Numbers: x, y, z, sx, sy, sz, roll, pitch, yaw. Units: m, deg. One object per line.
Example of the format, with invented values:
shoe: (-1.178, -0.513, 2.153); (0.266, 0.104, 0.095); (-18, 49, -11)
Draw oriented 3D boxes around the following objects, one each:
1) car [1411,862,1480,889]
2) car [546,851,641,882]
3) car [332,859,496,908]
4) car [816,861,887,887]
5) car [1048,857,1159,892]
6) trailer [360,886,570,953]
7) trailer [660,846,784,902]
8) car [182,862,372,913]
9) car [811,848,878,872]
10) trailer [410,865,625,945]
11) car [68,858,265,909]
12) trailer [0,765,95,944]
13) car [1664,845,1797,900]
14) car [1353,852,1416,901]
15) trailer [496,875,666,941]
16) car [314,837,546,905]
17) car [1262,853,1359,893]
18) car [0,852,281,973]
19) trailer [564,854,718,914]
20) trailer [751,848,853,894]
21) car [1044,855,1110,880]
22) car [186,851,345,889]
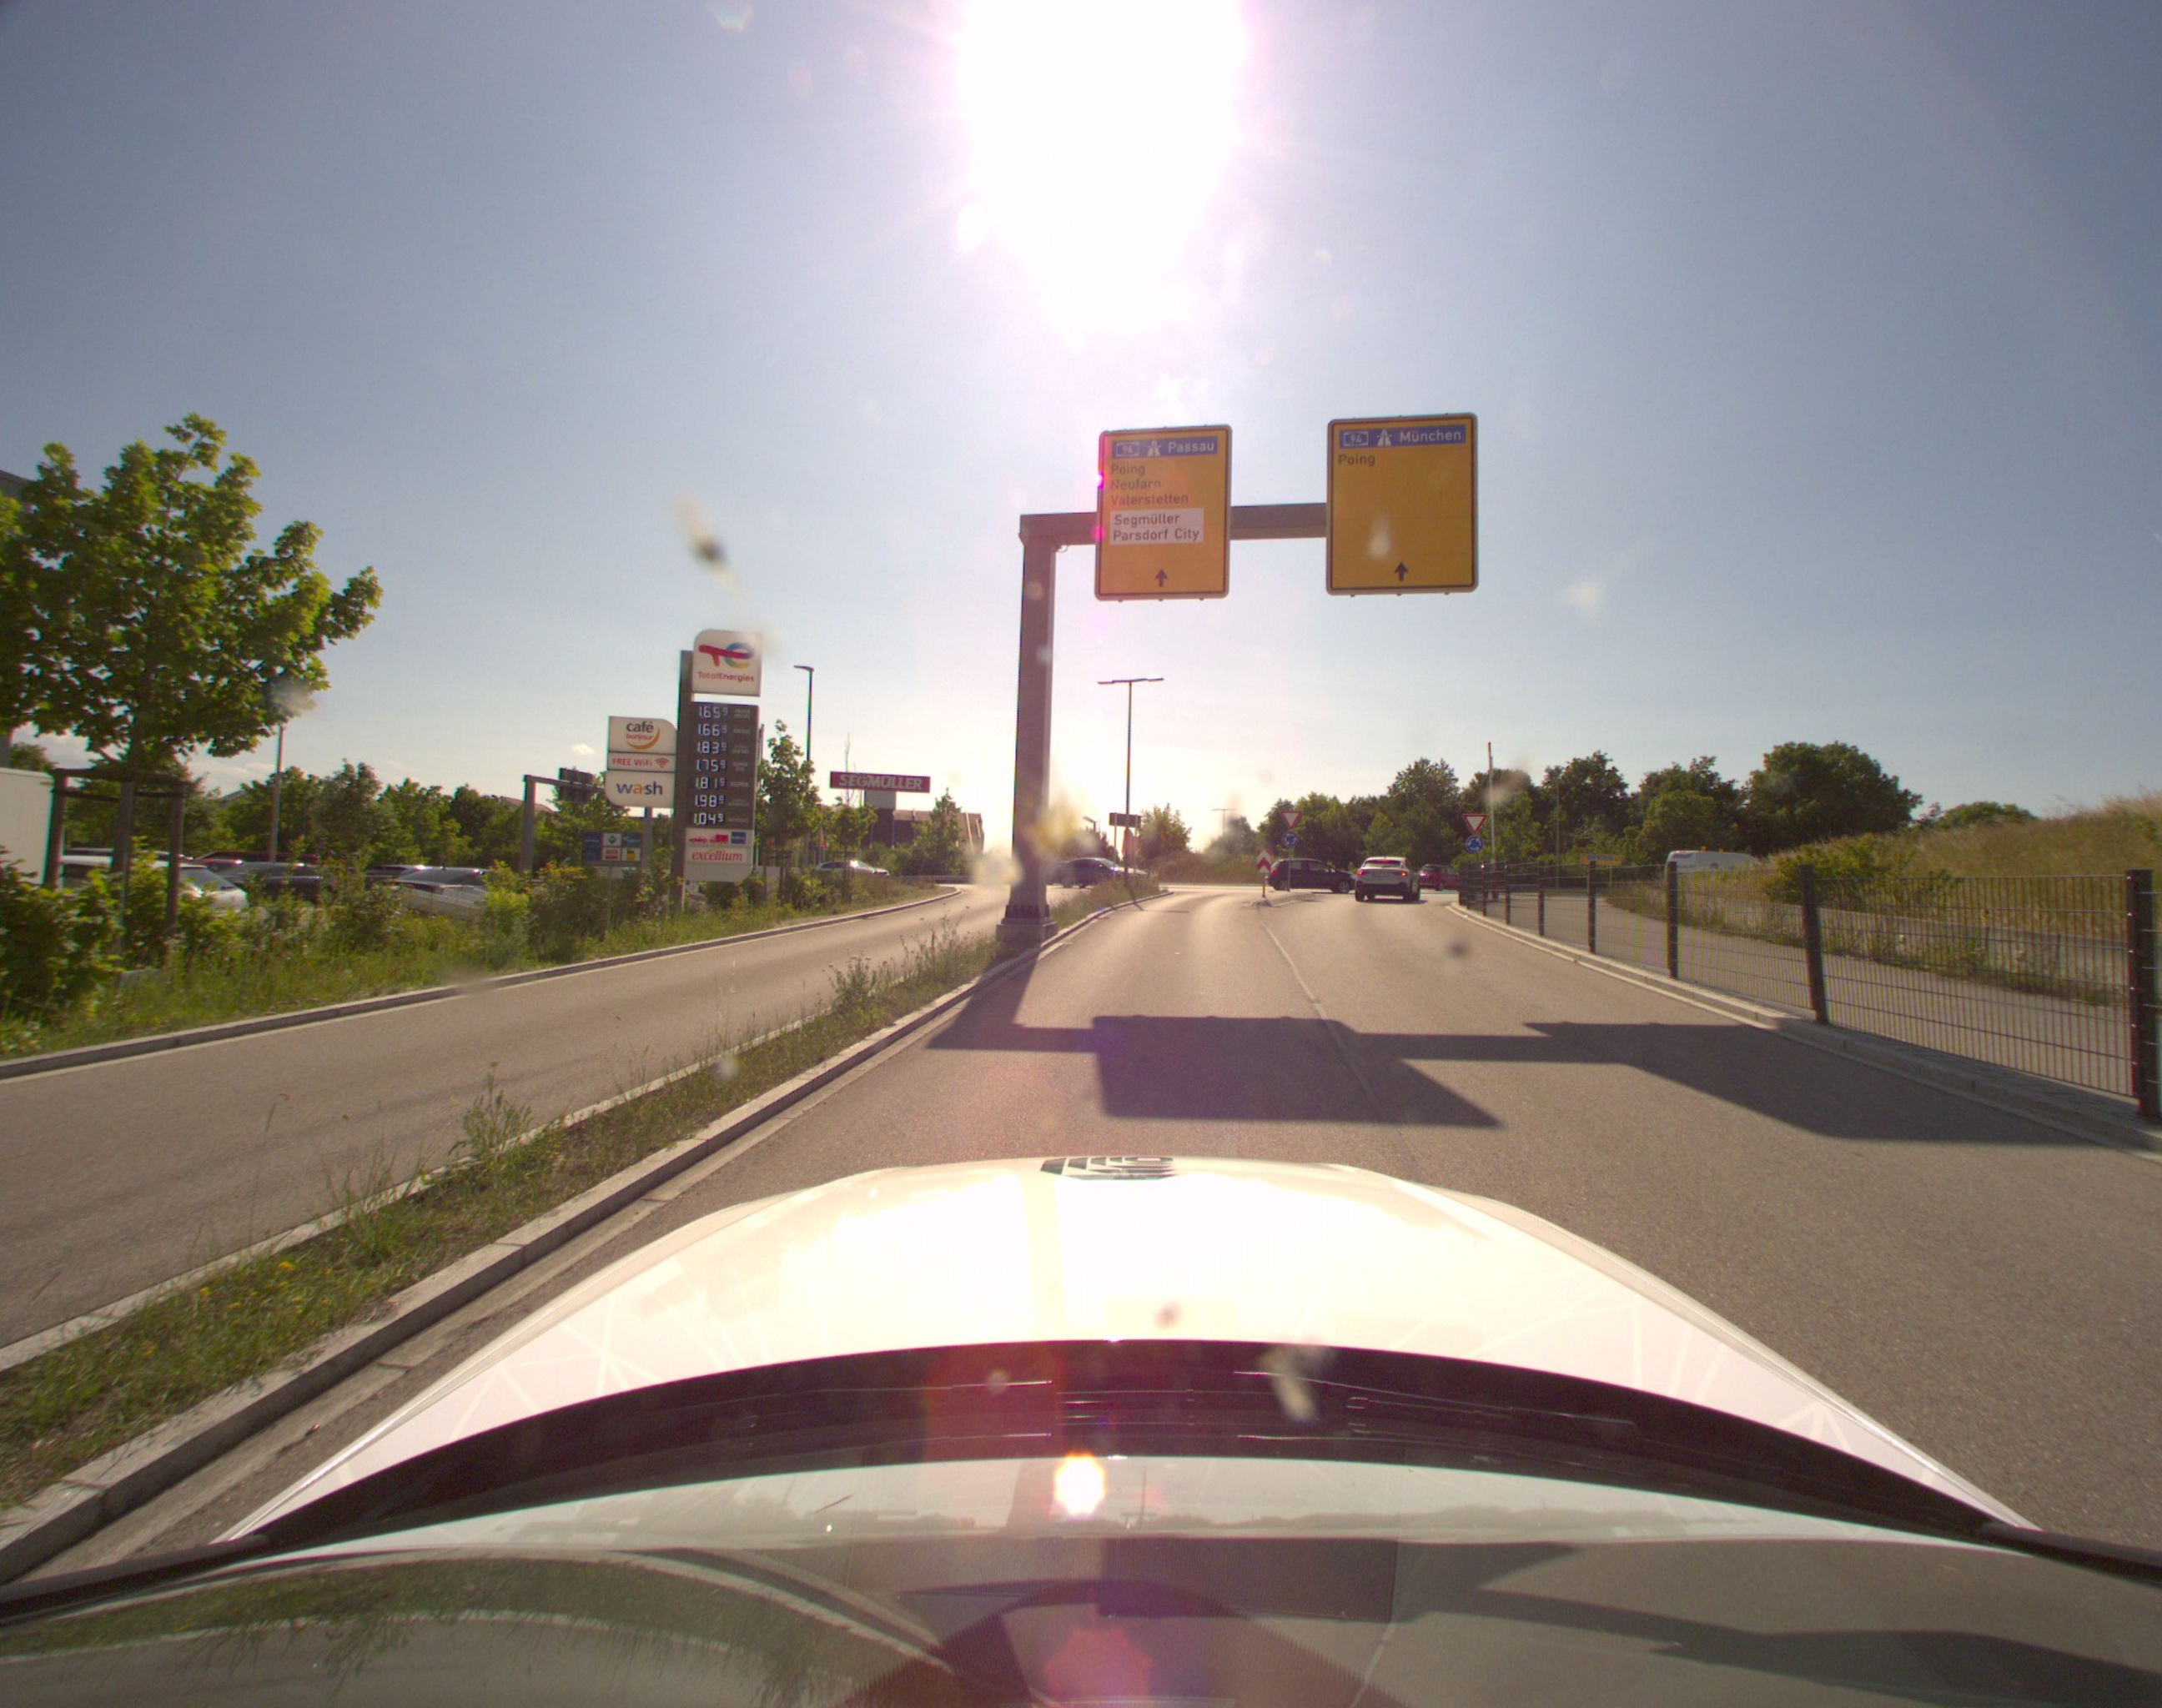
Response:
car: (20.959, 1.247, 46.822); (3.827, 1.405, 1.611); (2, -1, -29)
car: (-38.605, 0.984, 64.561); (6.229, 2.234, 2.041); (2, -1, 2)
car: (-21.529, 0.925, 26.524); (1.811, 1.464, 4.004); (-1, -1, 4)
car: (-13.380, 1.158, 47.402); (4.285, 1.352, 1.583); (1, -1, 36)
car: (1.065, 0.944, 38.638); (4.813, 1.452, 2.012); (1, -1, 26)
trailer: (-11.168, 1.184, 14.957); (2.777, 1.086, 1.311); (2, -1, -22)
trailer: (-12.194, 0.692, 27.757); (3.703, 1.772, 1.792); (2, -1, -26)
car: (-25.777, 1.032, 26.331); (1.808, 1.464, 4.010); (2, -1, 9)
car: (-16.506, 0.430, 56.801); (4.292, 1.530, 1.778); (2, -1, -23)
trailer: (-11.366, 1.024, 16.646); (3.183, 1.484, 1.542); (2, -1, -13)
car: (-29.408, 0.905, 26.399); (1.814, 1.464, 3.998); (2, -1, -1)
trailer: (-13.820, -0.042, 8.968); (3.243, 2.014, 1.735); (2, -1, -23)
car: (33.035, 0.945, 41.438); (6.183, 2.554, 2.080); (2, -1, -15)
car: (10.892, 0.779, 29.053); (1.825, 1.596, 4.348); (0, -1, 24)
trailer: (-11.202, 1.201, 18.406); (2.900, 1.322, 1.386); (2, -1, -8)
car: (-16.294, 0.410, 20.748); (1.787, 1.483, 4.509); (2, 0, 9)
car: (10.334, 0.840, 36.847); (3.929, 1.618, 1.821); (2, -1, 5)
car: (-14.296, 0.780, 11.395); (4.001, 1.536, 1.707); (2, -1, -21)
trailer: (-12.624, 0.860, 23.625); (3.703, 1.452, 1.694); (5, -2, -26)
trailer: (-11.171, 0.653, 32.593); (3.703, 1.772, 1.792); (0, 0, -26)
car: (-0.270, 0.808, 48.705); (3.721, 1.352, 1.541); (1, -1, 36)
car: (-33.733, 0.685, 33.797); (1.802, 1.464, 4.482); (1, -1, 40)
